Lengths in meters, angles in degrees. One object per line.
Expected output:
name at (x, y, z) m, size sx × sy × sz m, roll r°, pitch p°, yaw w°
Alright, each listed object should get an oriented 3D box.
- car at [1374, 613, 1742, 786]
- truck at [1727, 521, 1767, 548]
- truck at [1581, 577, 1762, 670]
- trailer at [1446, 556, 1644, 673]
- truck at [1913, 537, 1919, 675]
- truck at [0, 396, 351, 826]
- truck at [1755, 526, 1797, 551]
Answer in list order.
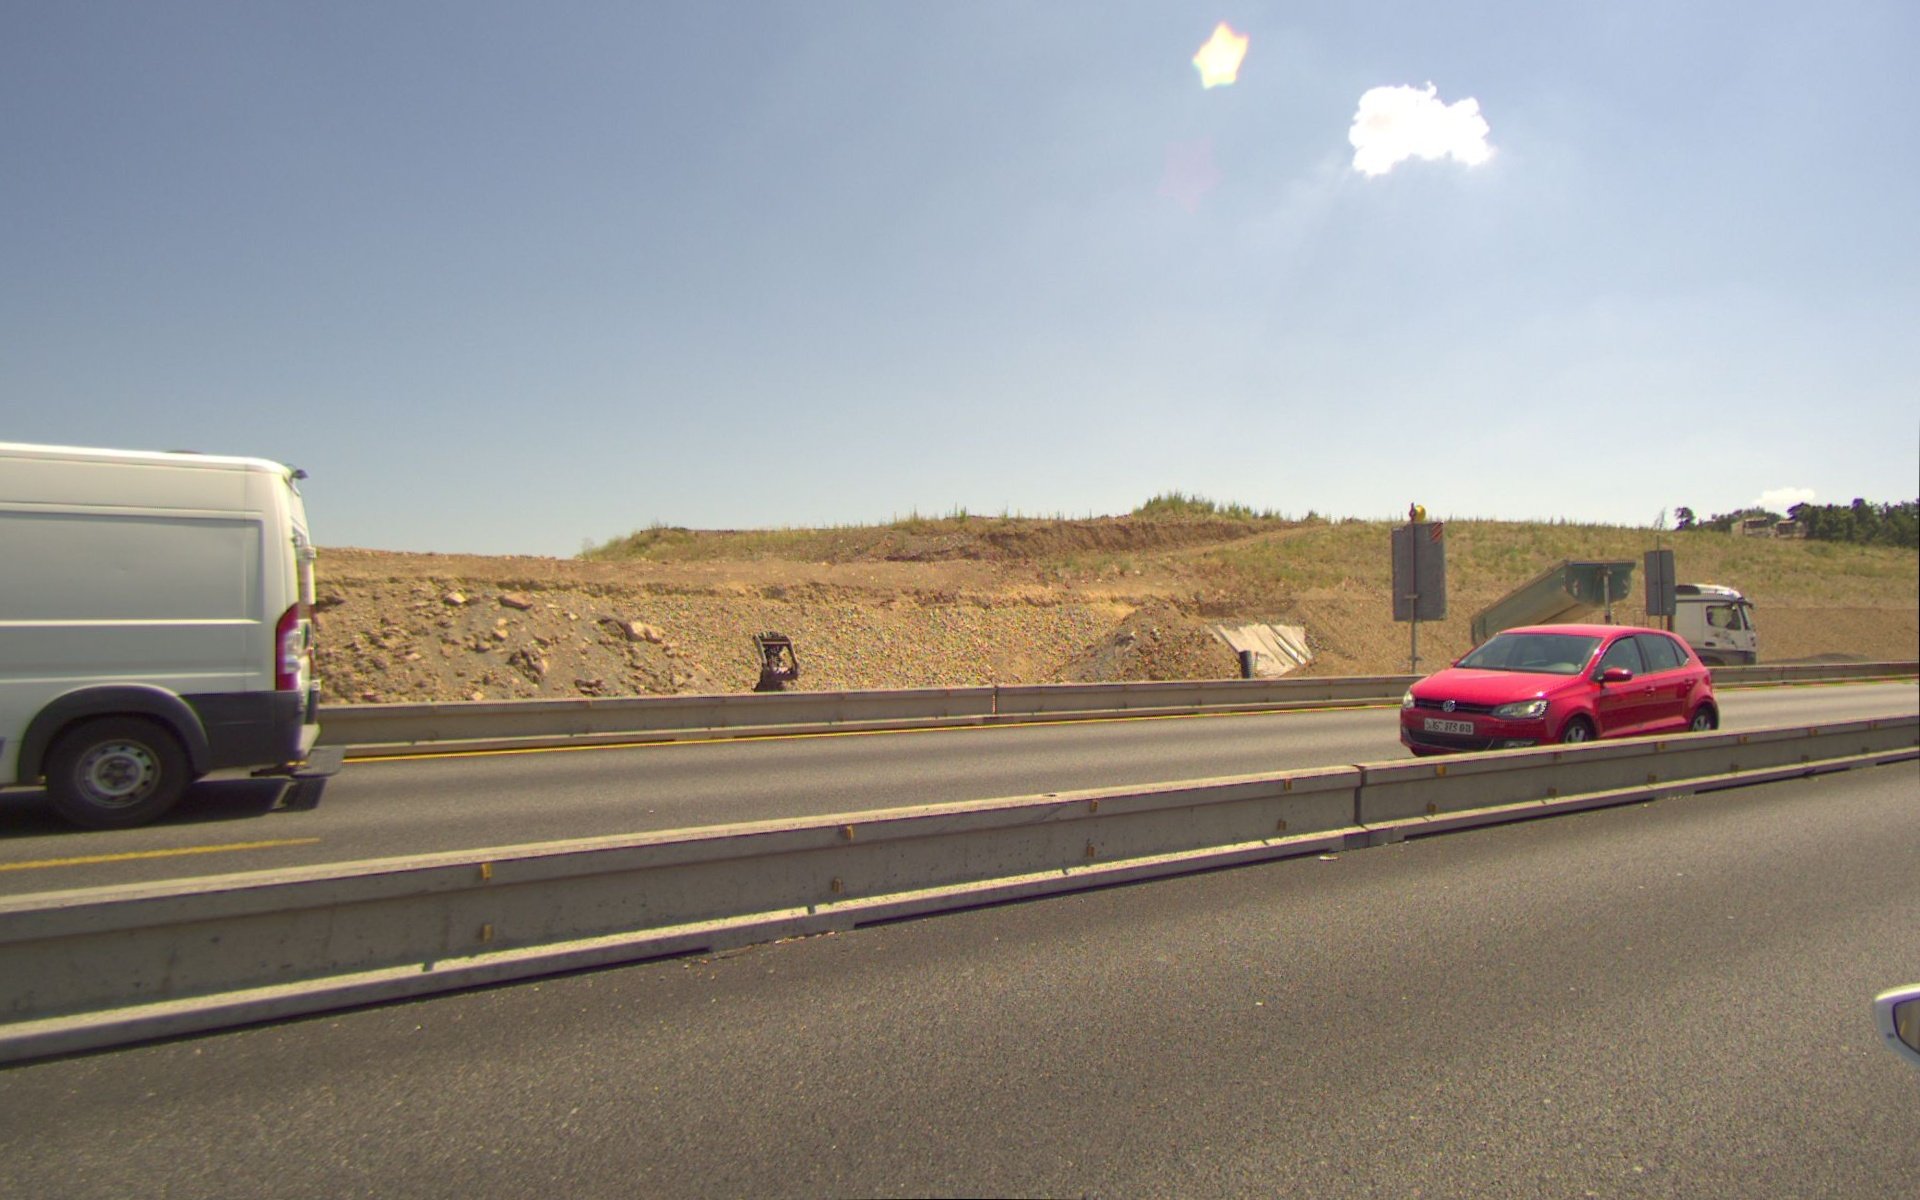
car at (6.398, 0.947, 10.654) m, size 4.006 × 1.504 × 1.619 m, roll 2°, pitch 0°, yaw -30°
truck at (105.977, -8.761, 135.346) m, size 2.317 × 2.937 × 8.362 m, roll 1°, pitch 0°, yaw 24°
truck at (24.888, 0.774, 35.446) m, size 4.974 × 3.003 × 2.581 m, roll 1°, pitch 0°, yaw 32°
trailer at (23.163, 0.533, 40.473) m, size 2.745 × 4.152 × 8.367 m, roll 1°, pitch 0°, yaw -2°
truck at (30.901, 0.298, 28.836) m, size 9.372 × 3.766 × 2.632 m, roll 2°, pitch 0°, yaw -31°
truck at (-7.499, 0.058, 6.256) m, size 6.281 × 2.604 × 2.087 m, roll 0°, pitch 1°, yaw -31°
truck at (112.847, -8.409, 139.022) m, size 2.259 × 2.785 × 8.900 m, roll 1°, pitch 0°, yaw 24°
